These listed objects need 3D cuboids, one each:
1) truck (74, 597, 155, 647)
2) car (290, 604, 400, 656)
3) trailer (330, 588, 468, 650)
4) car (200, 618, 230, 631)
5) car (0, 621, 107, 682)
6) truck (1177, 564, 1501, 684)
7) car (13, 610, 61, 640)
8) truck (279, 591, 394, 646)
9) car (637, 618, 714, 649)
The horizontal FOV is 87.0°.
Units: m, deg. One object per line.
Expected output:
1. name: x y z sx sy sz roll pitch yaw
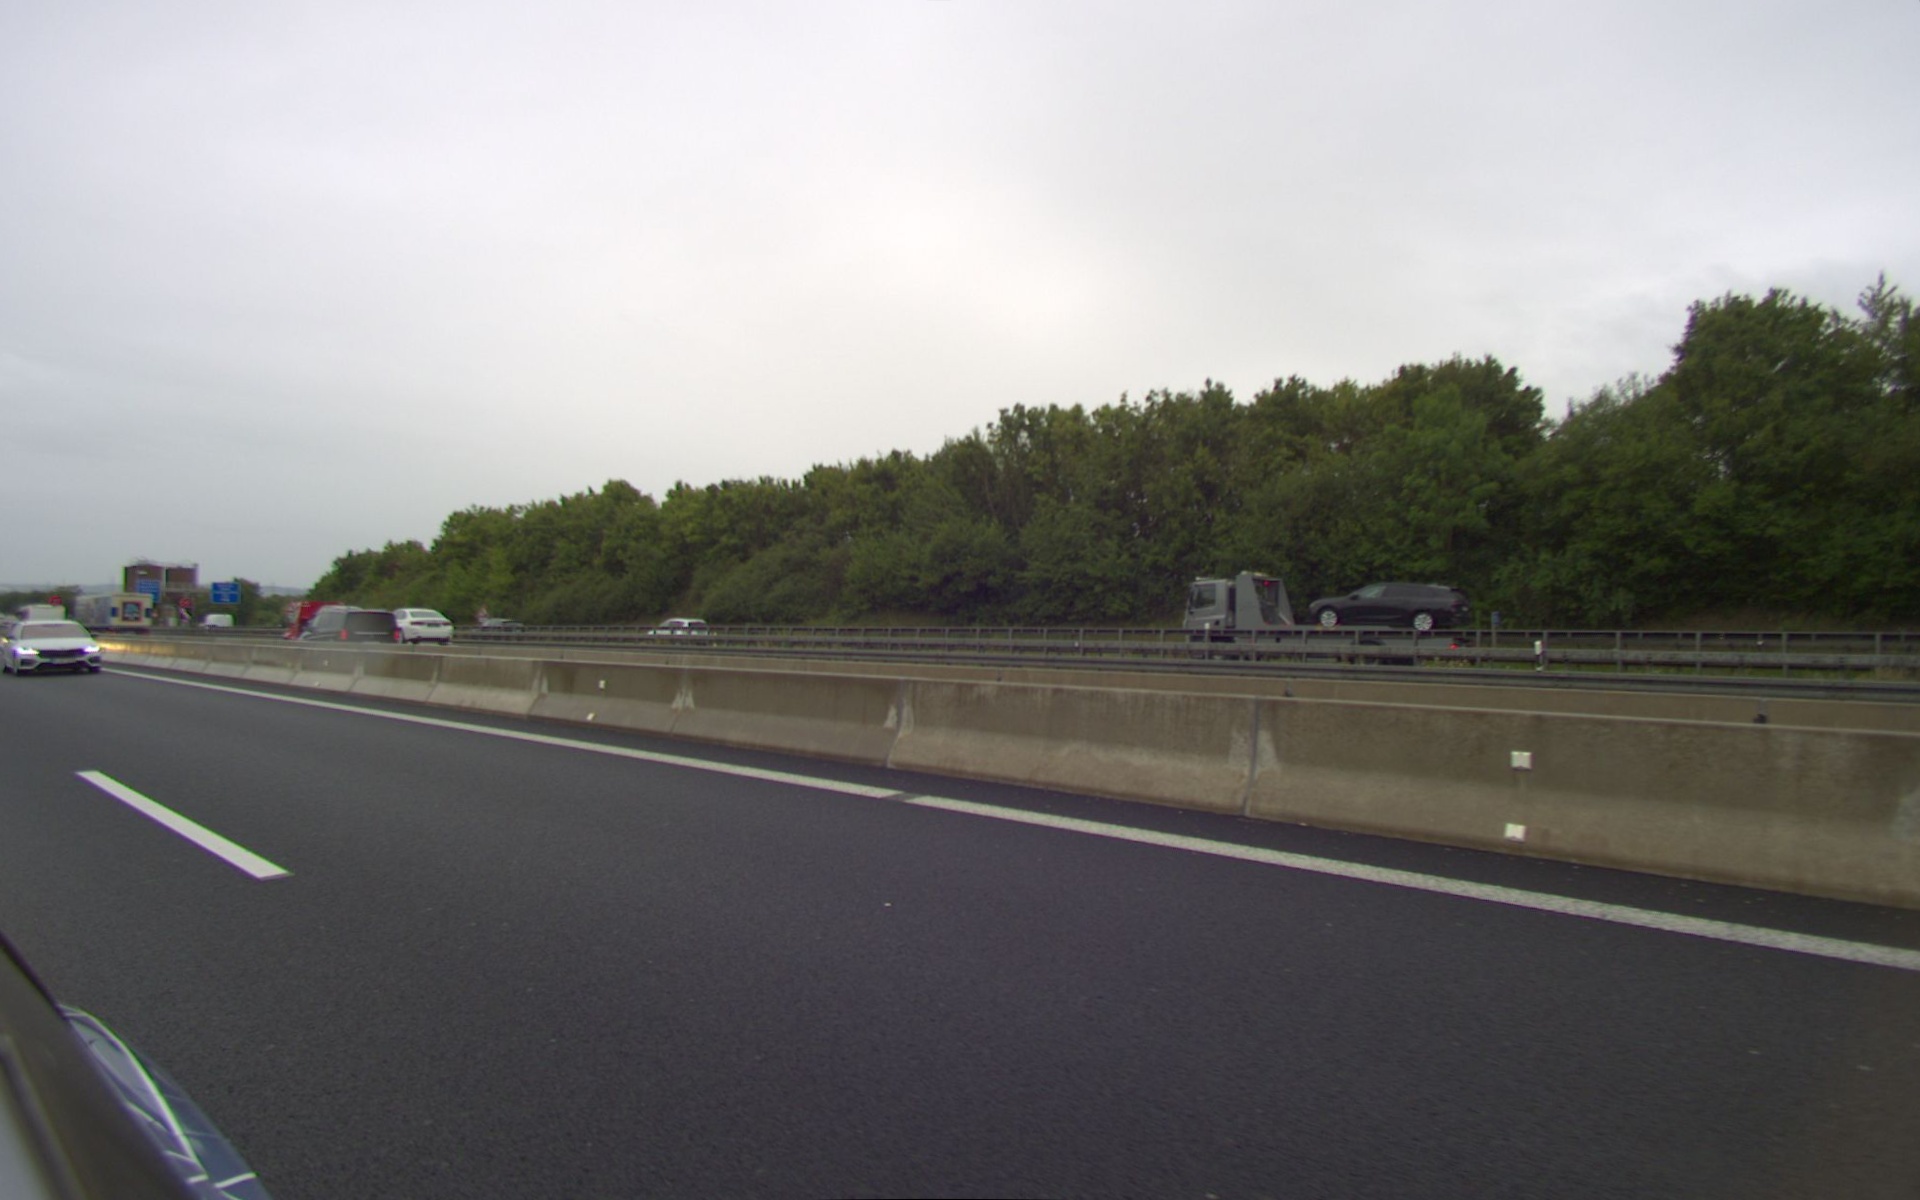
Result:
1. truck: -71.718 1.785 85.618 16.083 3.907 2.896 -1 0 42
2. car: -21.656 1.021 35.563 4.774 1.694 1.851 -1 0 40
3. trailer: -23.516 0.756 42.207 7.943 2.358 2.549 -1 0 41
4. car: -88.211 2.847 119.750 4.774 1.467 1.800 -1 0 40
5. car: -25.227 1.349 27.904 4.774 1.467 1.800 -1 0 40
6. truck: 11.511 0.685 31.572 9.075 3.245 2.821 -1 0 41
7. car: -74.987 2.008 82.182 5.688 2.339 2.108 -1 0 40
8. truck: -29.133 0.831 47.133 7.339 2.358 2.549 -1 0 41
9. car: -15.625 1.795 55.446 4.774 1.593 1.642 -1 0 40
